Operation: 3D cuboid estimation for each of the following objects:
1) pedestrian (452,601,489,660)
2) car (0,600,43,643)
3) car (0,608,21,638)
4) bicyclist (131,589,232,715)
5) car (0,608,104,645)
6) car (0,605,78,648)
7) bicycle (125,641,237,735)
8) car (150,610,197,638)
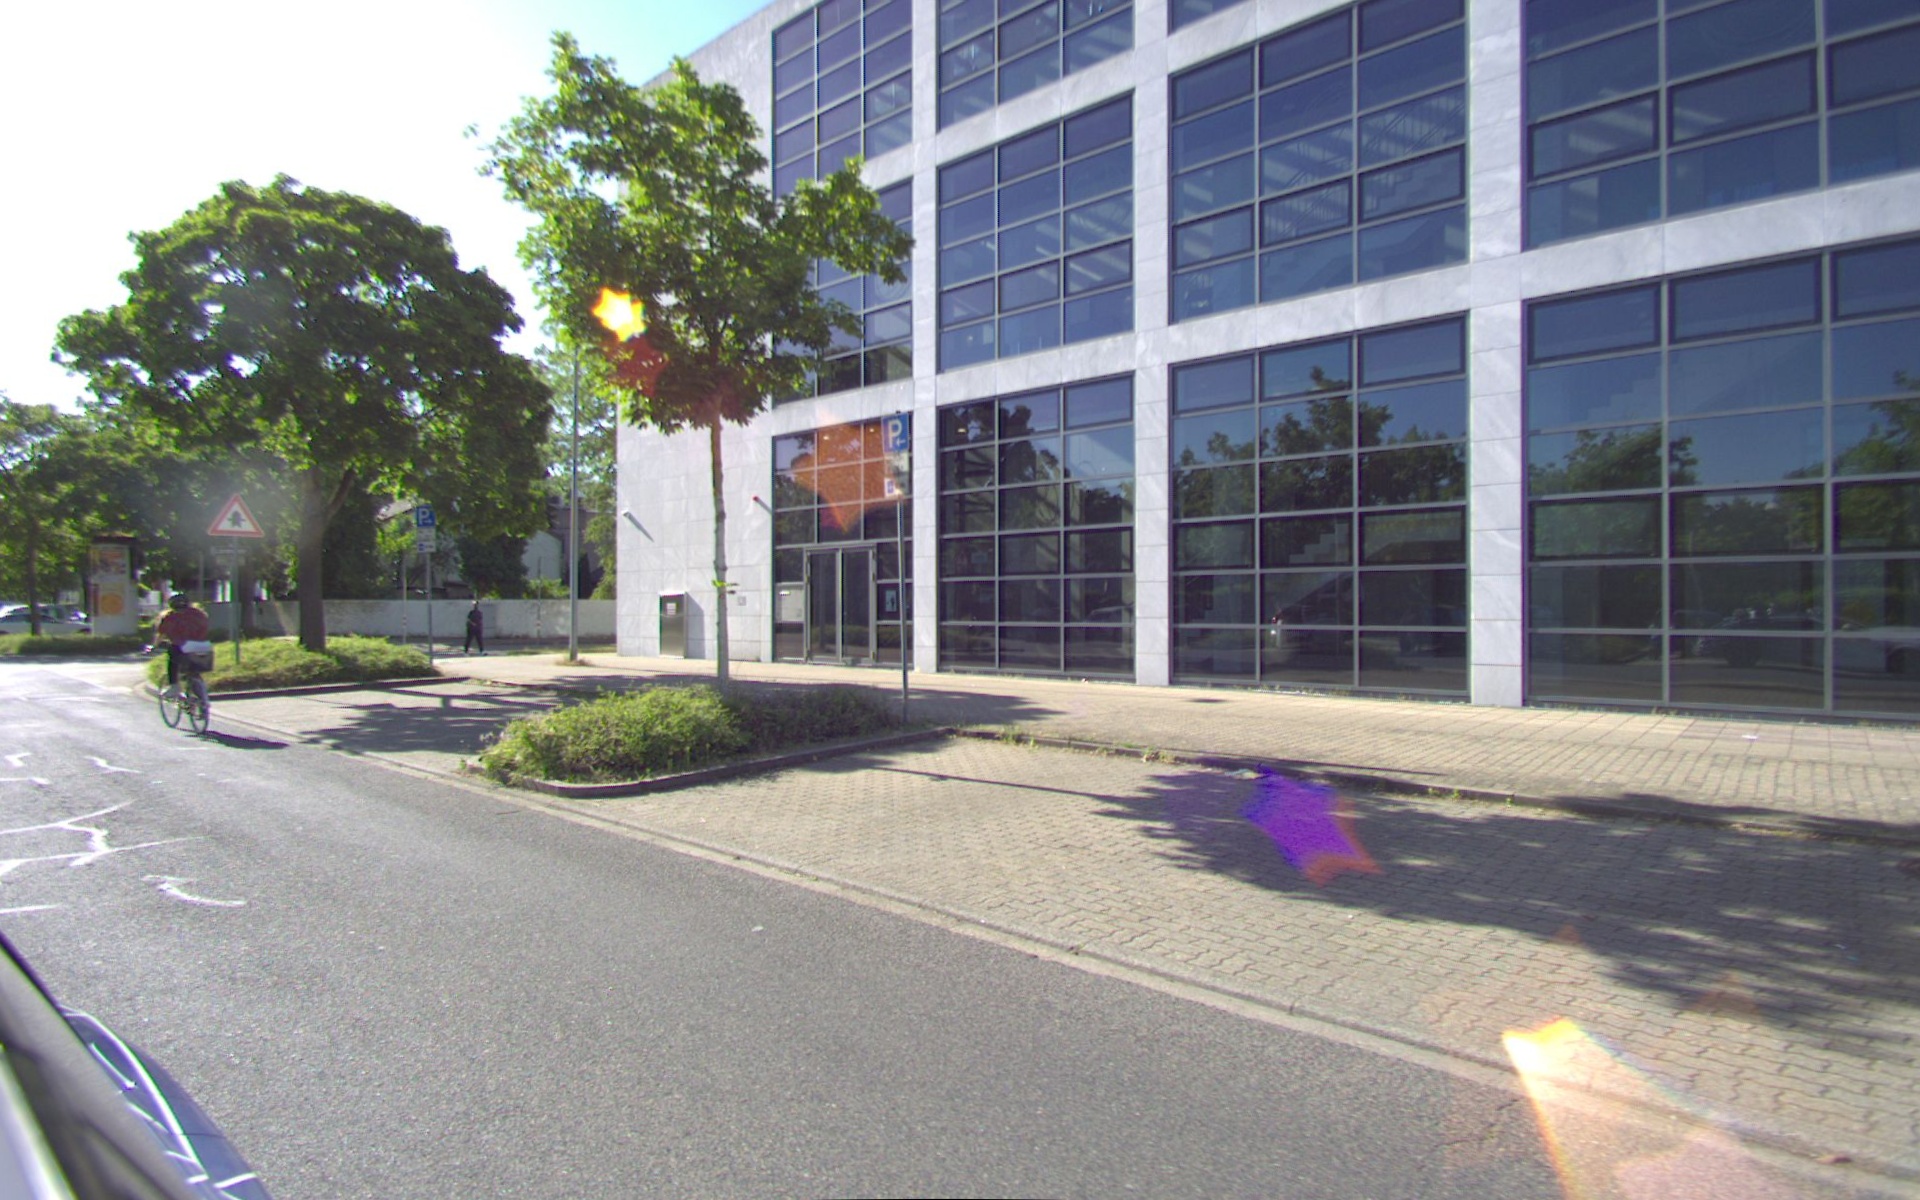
[{"bbox_3d":[-14.513,0.899,29.976,0.825,1.697,0.809,2,-2,-36],"label":"pedestrian"},{"bbox_3d":[-53.790,1.199,55.424,1.998,2.397,5.066,-2,-2,40],"label":"car"},{"bbox_3d":[-60.774,1.397,62.065,1.998,1.844,4.505,-2,-2,40],"label":"car"},{"bbox_3d":[-9.406,0.608,12.219,1.132,1.442,0.749,-1,-3,43],"label":"bicyclist"},{"bbox_3d":[-39.997,1.151,43.562,1.829,1.416,4.623,-1,1,42],"label":"car"},{"bbox_3d":[-45.667,1.270,48.711,1.998,2.006,4.574,-2,-2,40],"label":"car"},{"bbox_3d":[-9.443,1.024,12.249,1.872,1.010,0.749,-1,-3,43],"label":"bicycle"},{"bbox_3d":[-49.169,1.487,63.267,1.808,1.626,4.146,3,-2,-45],"label":"car"}]
